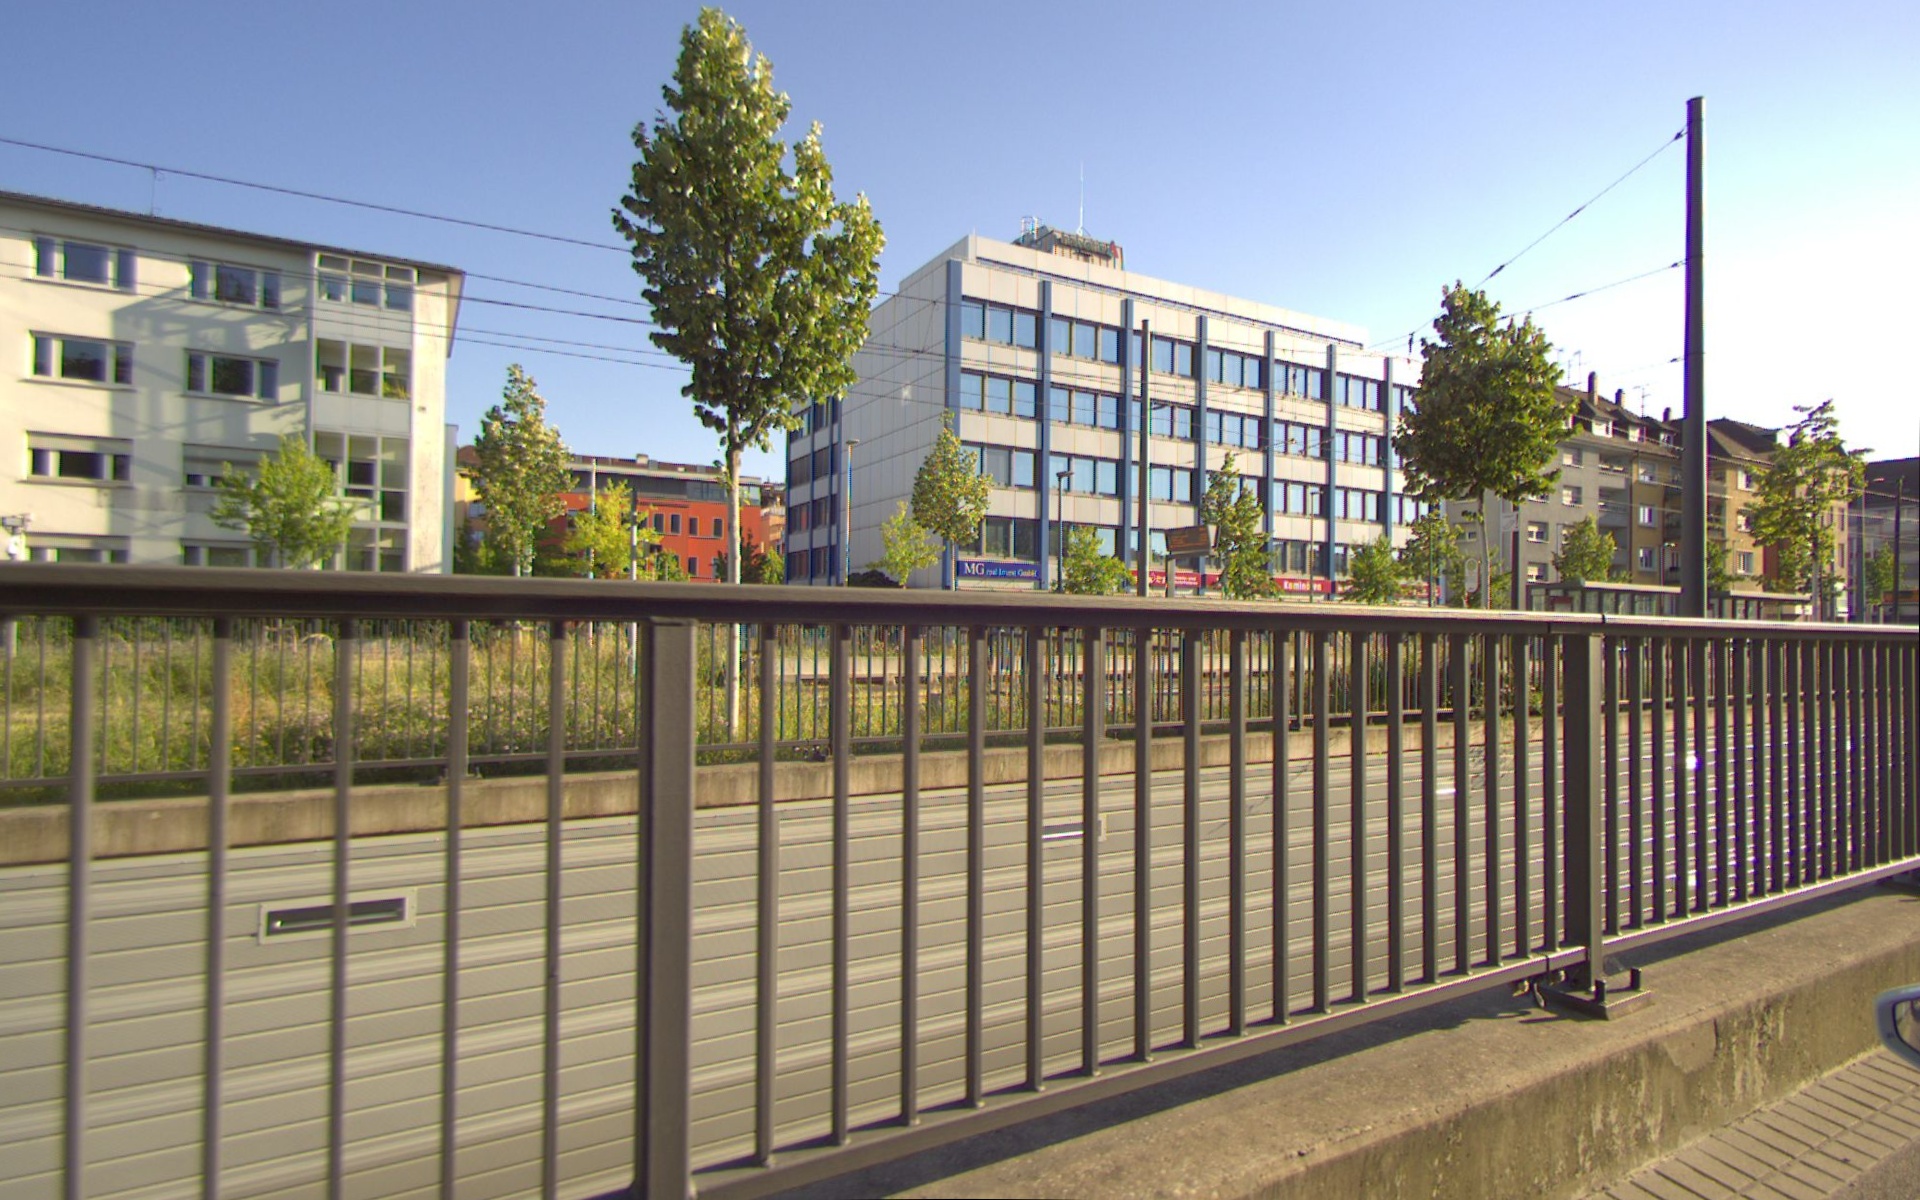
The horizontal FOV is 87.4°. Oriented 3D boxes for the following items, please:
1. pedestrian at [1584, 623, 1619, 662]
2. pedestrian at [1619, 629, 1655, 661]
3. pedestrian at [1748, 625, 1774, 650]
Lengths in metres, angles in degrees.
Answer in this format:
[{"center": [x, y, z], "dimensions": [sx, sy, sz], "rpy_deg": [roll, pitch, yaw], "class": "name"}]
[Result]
[{"center": [23.984, 1.594, 37.568], "dimensions": [0.794, 1.429, 0.834], "rpy_deg": [1, -1, -30], "class": "pedestrian"}, {"center": [26.187, 1.729, 38.832], "dimensions": [0.755, 1.213, 0.929], "rpy_deg": [1, -1, -30], "class": "pedestrian"}, {"center": [34.712, 1.613, 43.523], "dimensions": [0.785, 1.061, 0.624], "rpy_deg": [1, -1, -30], "class": "pedestrian"}]
